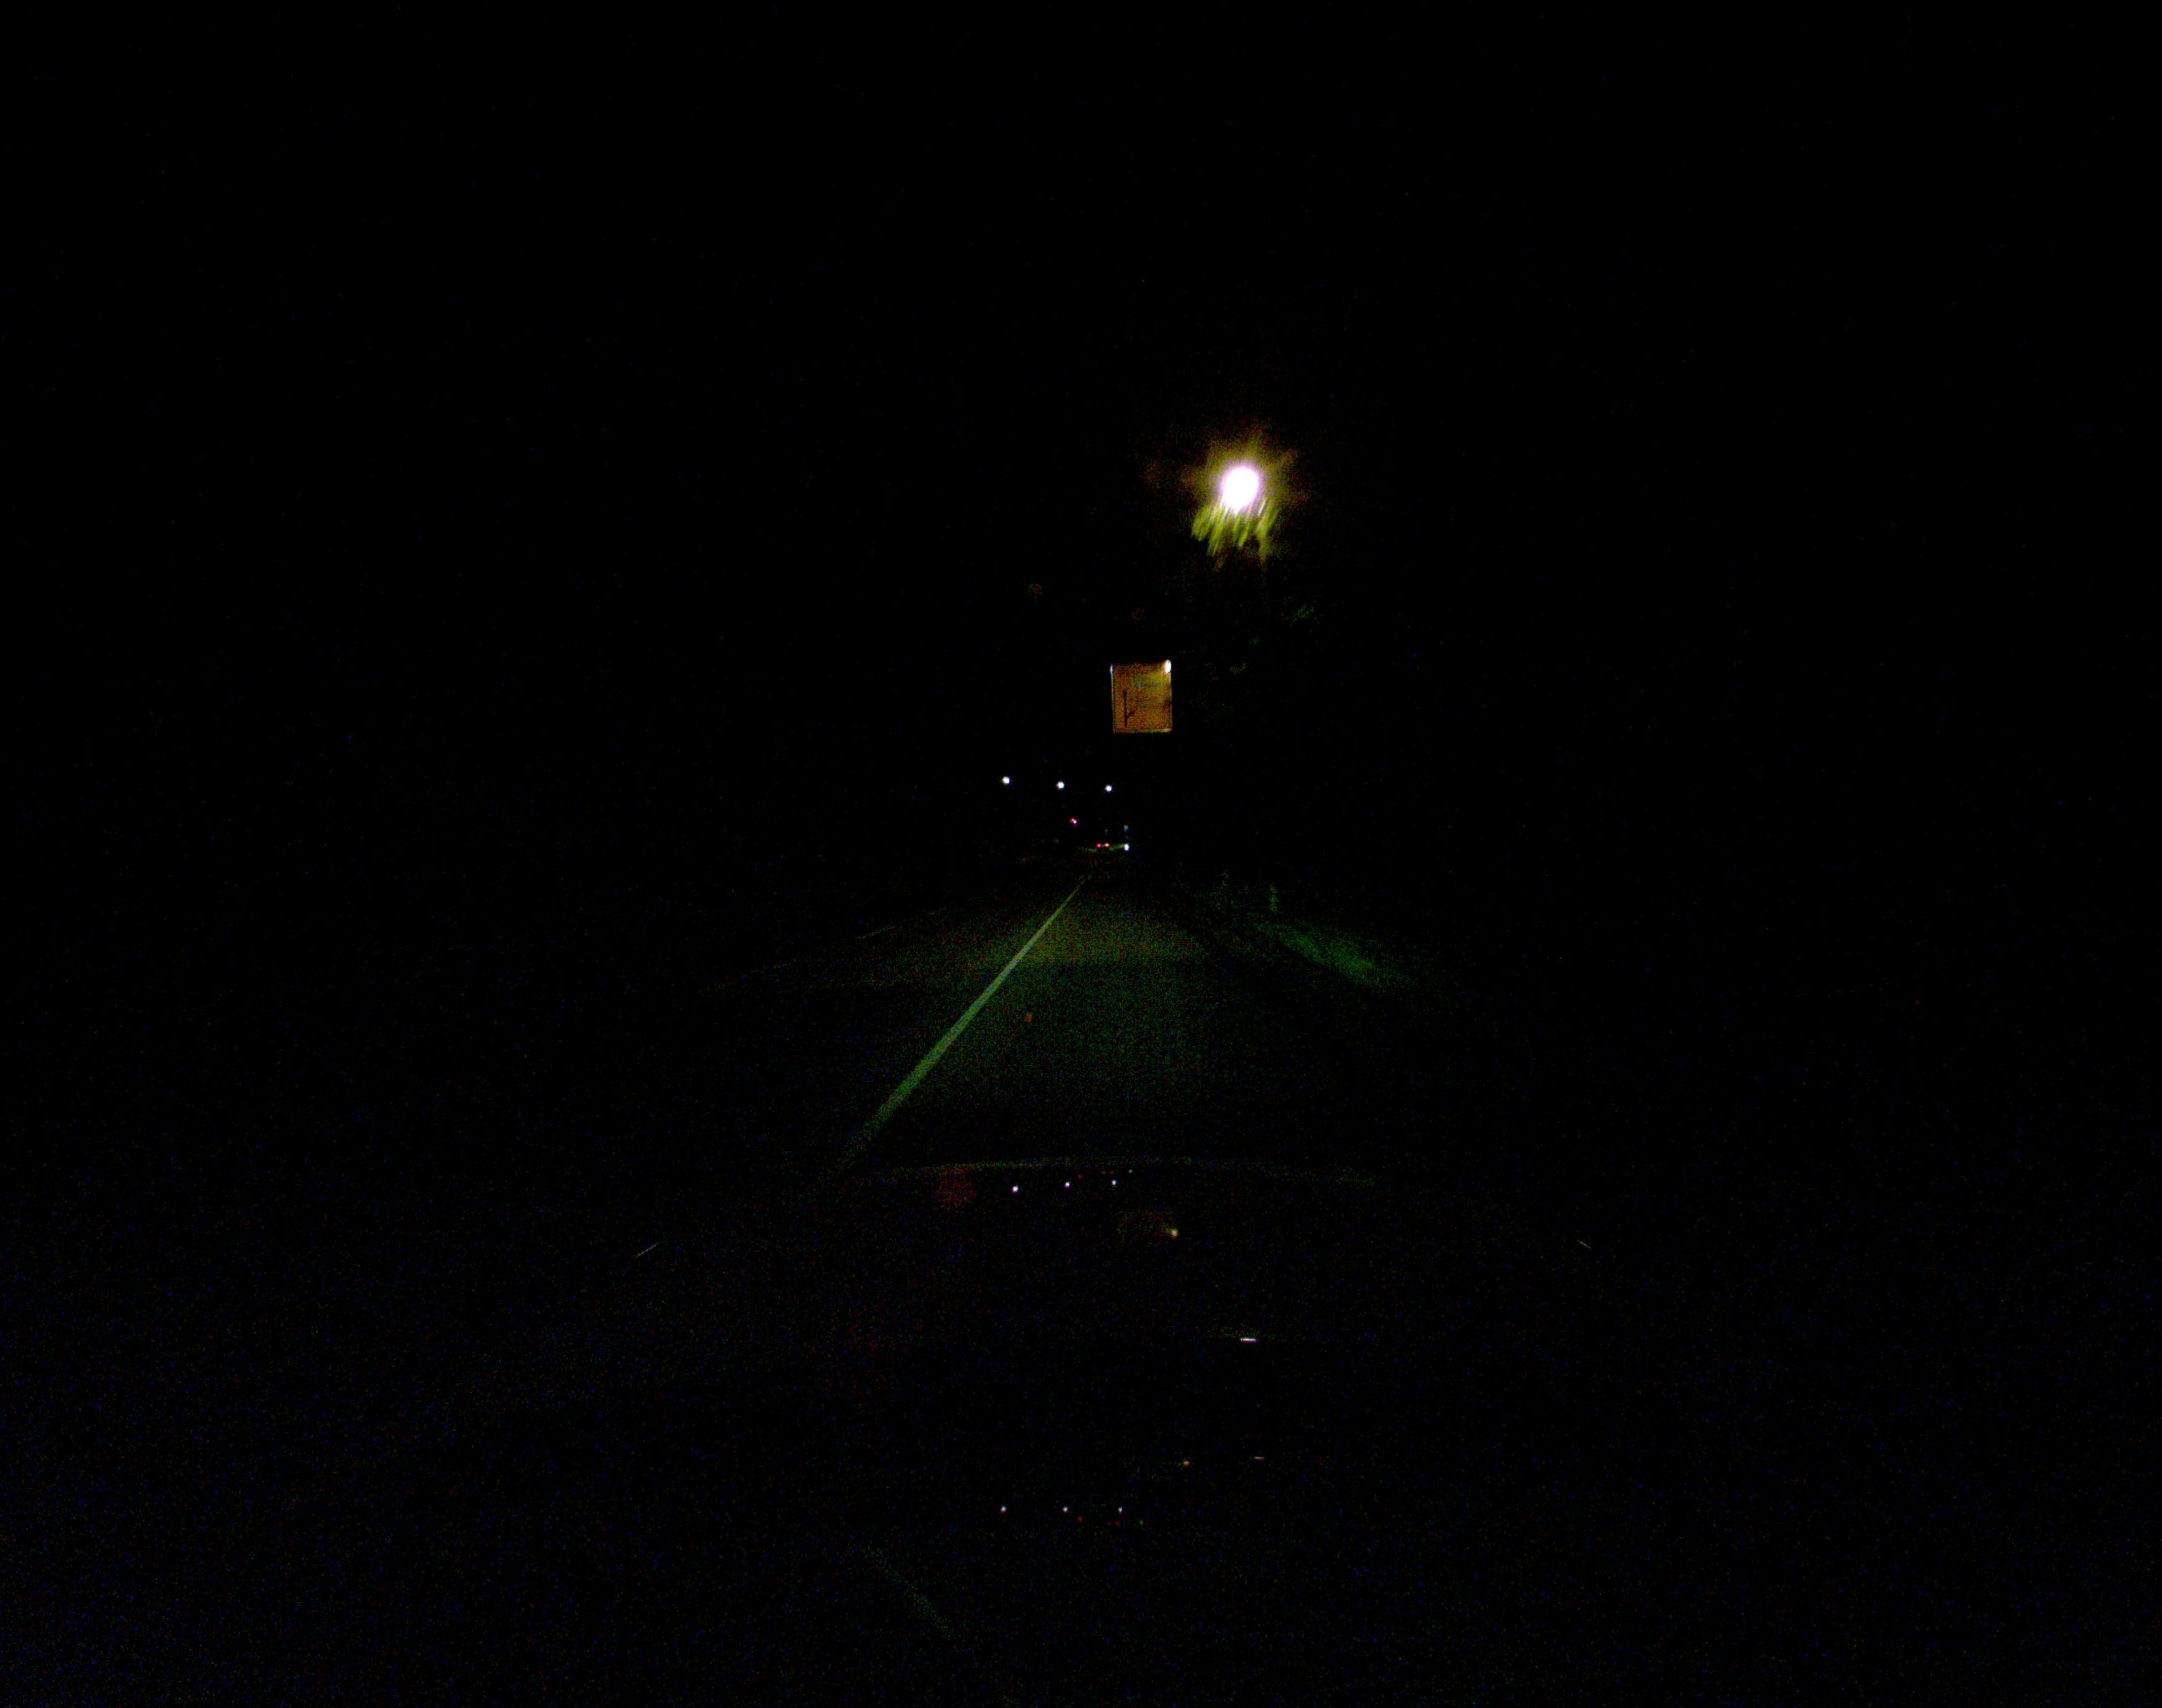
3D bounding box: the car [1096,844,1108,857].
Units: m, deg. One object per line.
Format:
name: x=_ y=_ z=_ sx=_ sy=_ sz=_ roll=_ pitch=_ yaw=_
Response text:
car: x=3.482 y=-0.552 z=132.614 sx=1.911 sy=2.014 sz=4.124 roll=0 pitch=0 yaw=2
